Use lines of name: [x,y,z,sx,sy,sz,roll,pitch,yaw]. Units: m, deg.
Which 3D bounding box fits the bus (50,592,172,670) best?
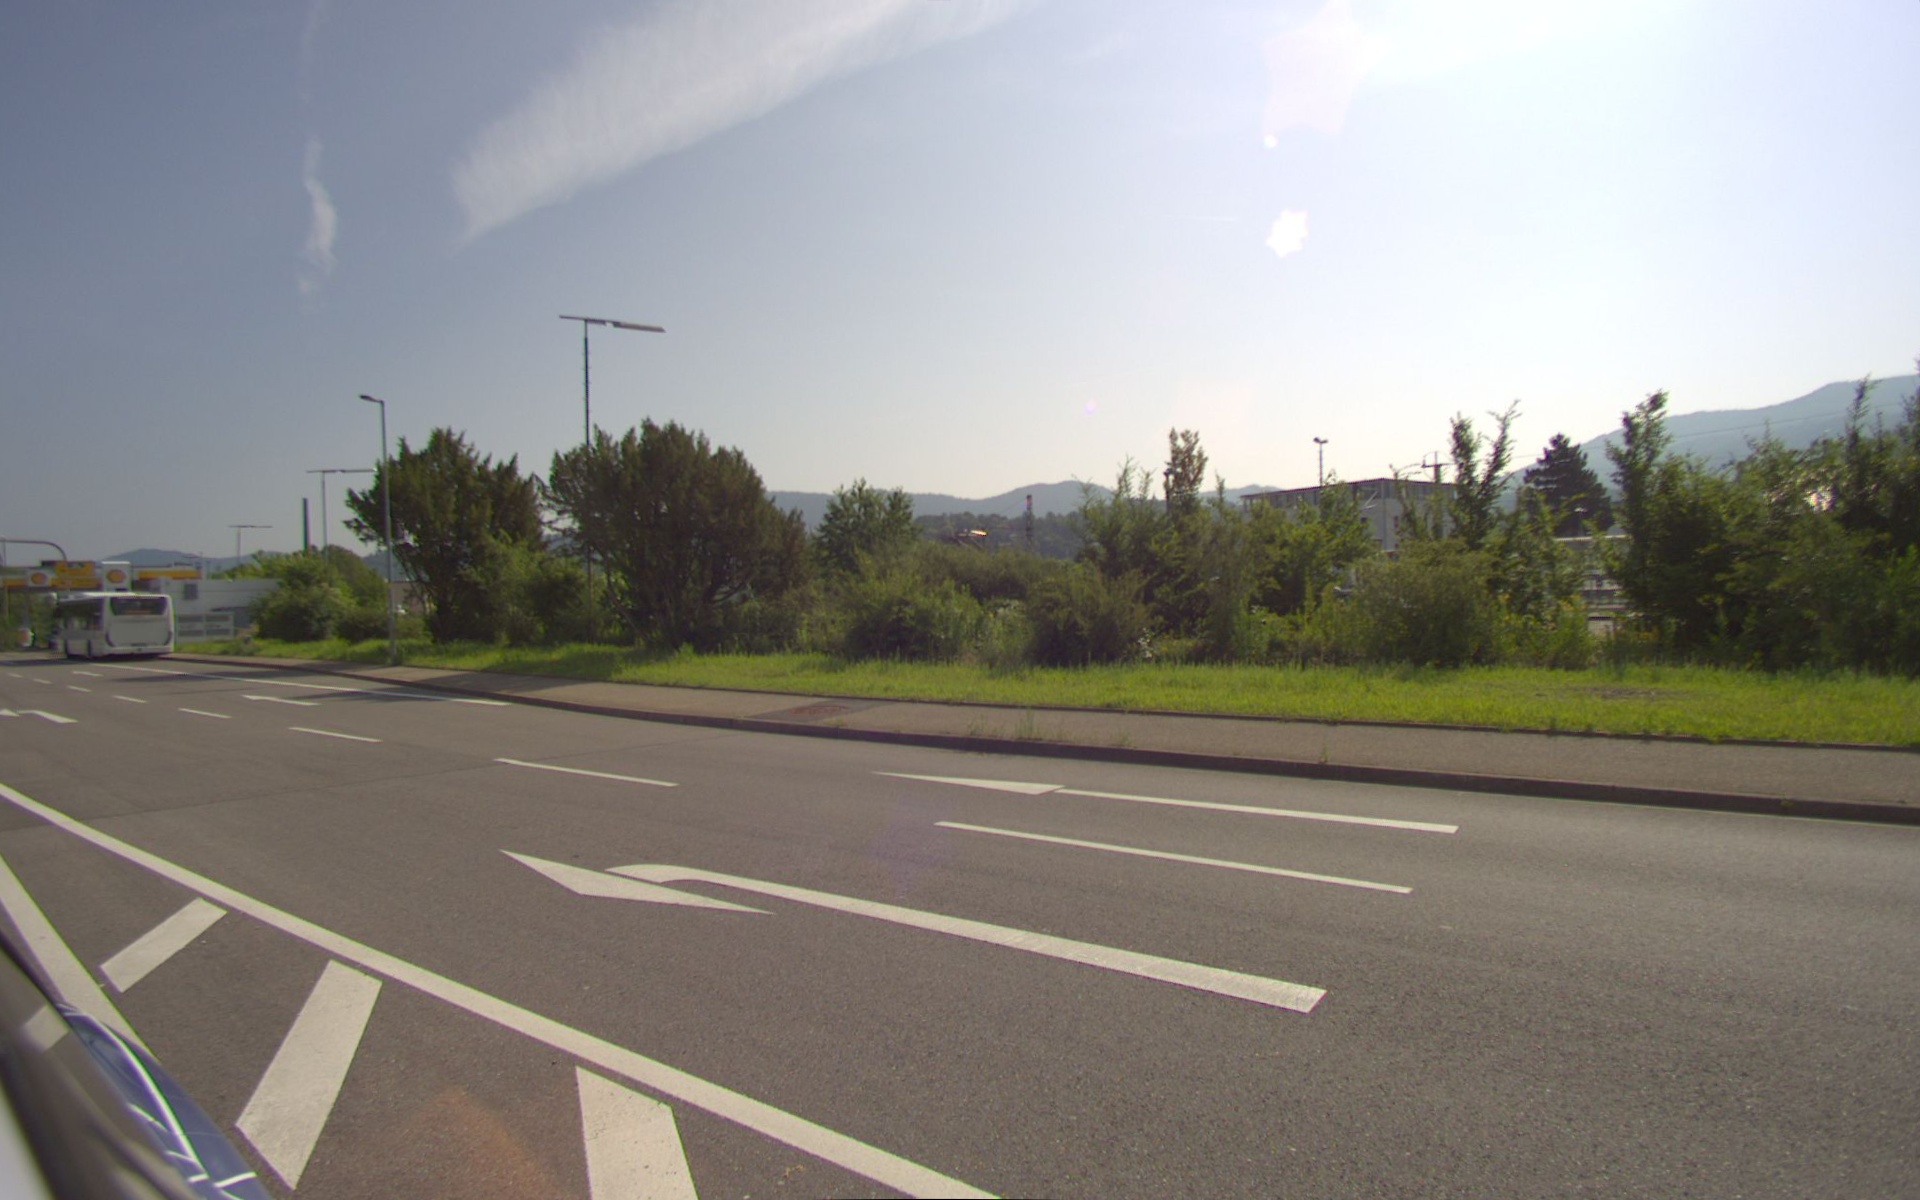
bus: [-40.946,1.482,48.585,11.949,3.335,2.594,-2,-1,41]
